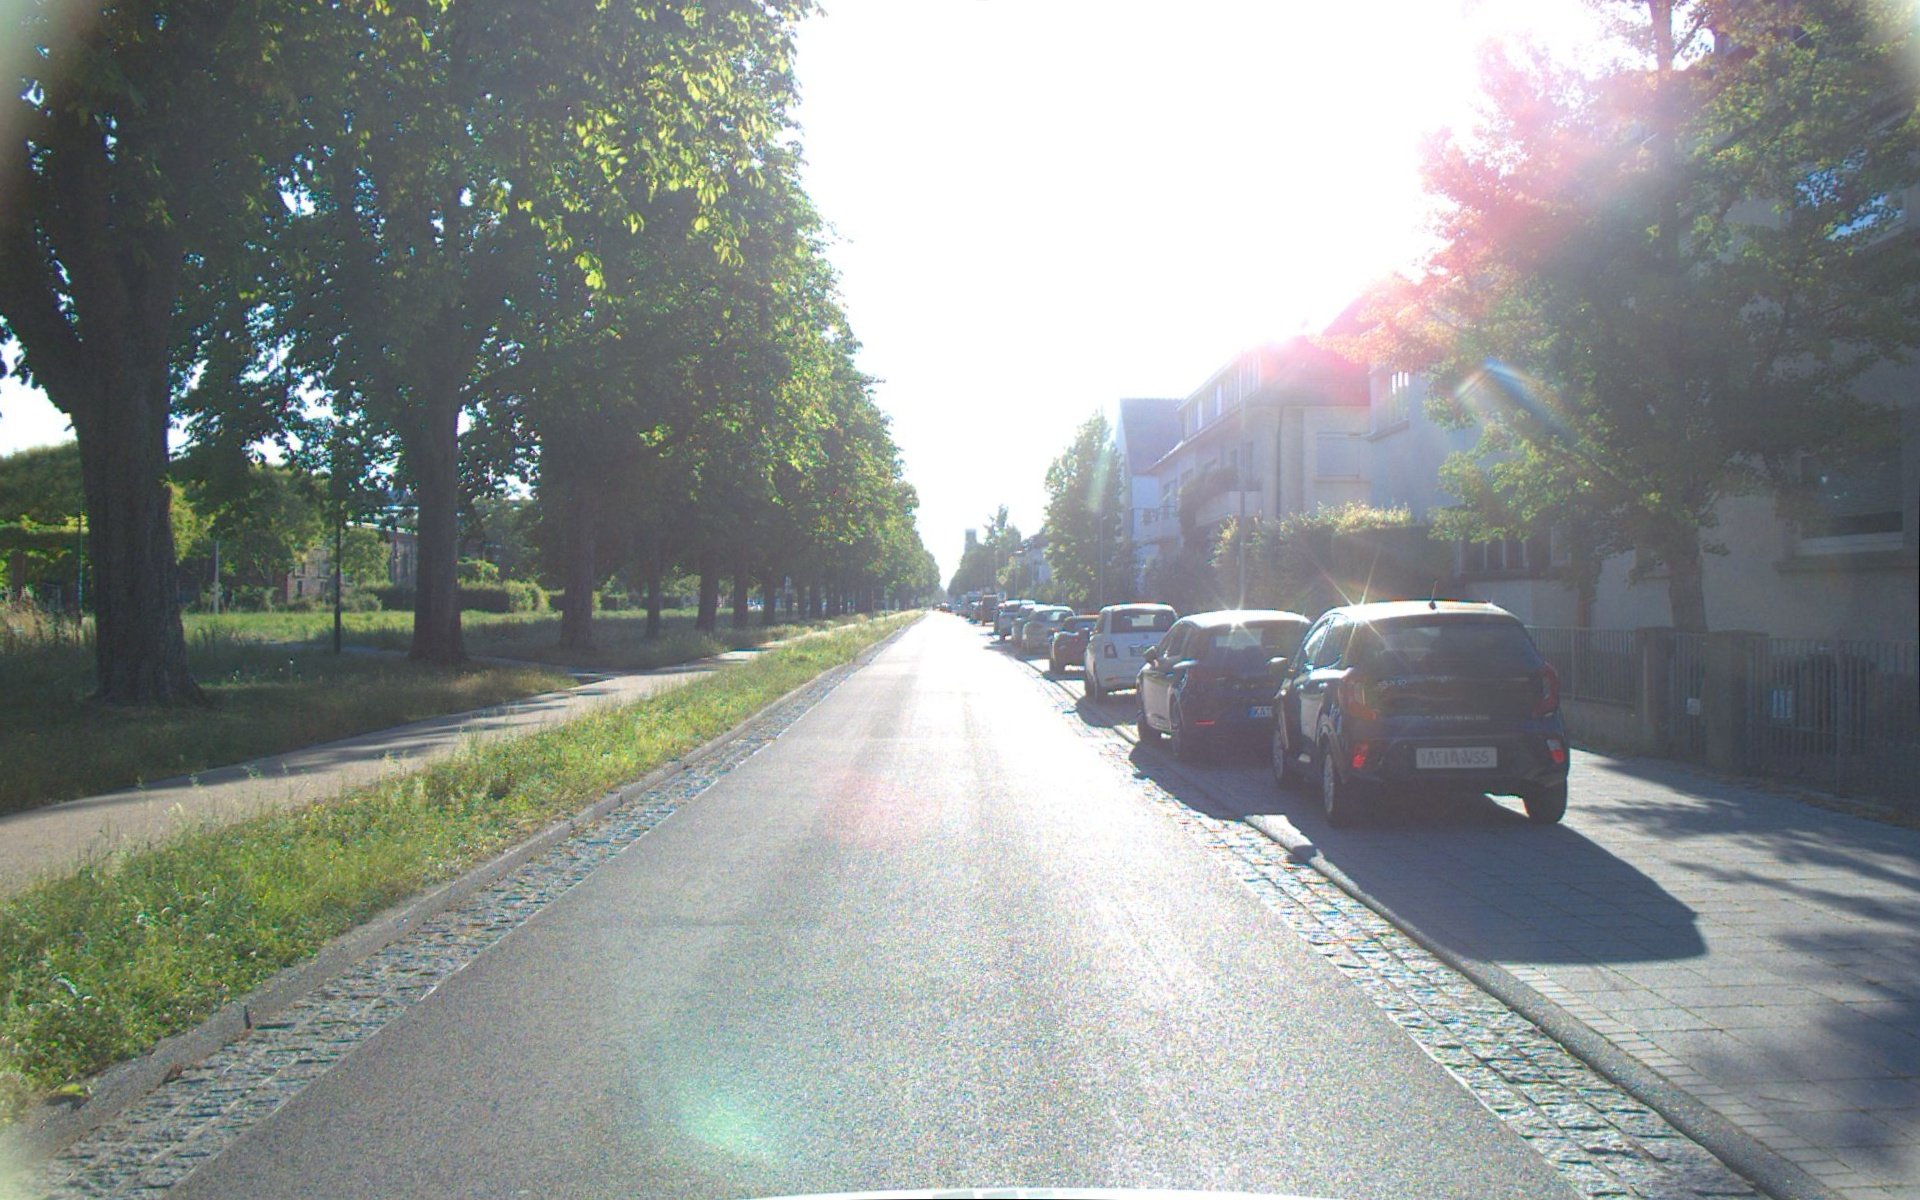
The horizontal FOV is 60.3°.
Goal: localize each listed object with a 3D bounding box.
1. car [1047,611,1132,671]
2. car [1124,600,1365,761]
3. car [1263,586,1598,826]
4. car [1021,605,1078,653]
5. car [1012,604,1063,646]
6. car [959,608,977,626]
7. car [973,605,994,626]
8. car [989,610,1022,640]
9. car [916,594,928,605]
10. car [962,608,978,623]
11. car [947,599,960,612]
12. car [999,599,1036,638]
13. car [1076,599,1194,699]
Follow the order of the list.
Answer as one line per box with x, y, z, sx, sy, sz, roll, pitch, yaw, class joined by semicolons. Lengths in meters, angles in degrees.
2.844;0.874;36.818;1.658;1.270;3.497;0;0;0;car
2.882;0.787;17.621;1.701;1.474;4.195;-1;-1;-2;car
3.357;0.702;12.476;1.623;1.520;3.717;-1;-1;3;car
2.720;0.883;50.755;1.618;1.421;3.266;0;0;0;car
2.641;0.855;57.009;1.618;1.421;3.266;0;0;0;car
0.748;1.491;149.146;1.618;1.568;3.266;2;0;0;car
1.857;1.214;131.125;1.618;1.568;3.266;2;0;0;car
2.259;1.212;82.475;1.561;1.459;3.266;0;0;0;car
-5.579;-0.111;241.084;1.618;1.568;3.266;2;0;-1;car
1.056;1.623;175.232;1.618;1.568;3.266;2;0;0;car
-0.810;0.736;214.872;1.618;1.568;3.266;2;0;-1;car
2.409;0.779;69.401;1.467;1.594;3.266;0;0;0;car
2.810;0.764;27.108;1.560;1.536;3.591;0;0;0;car
